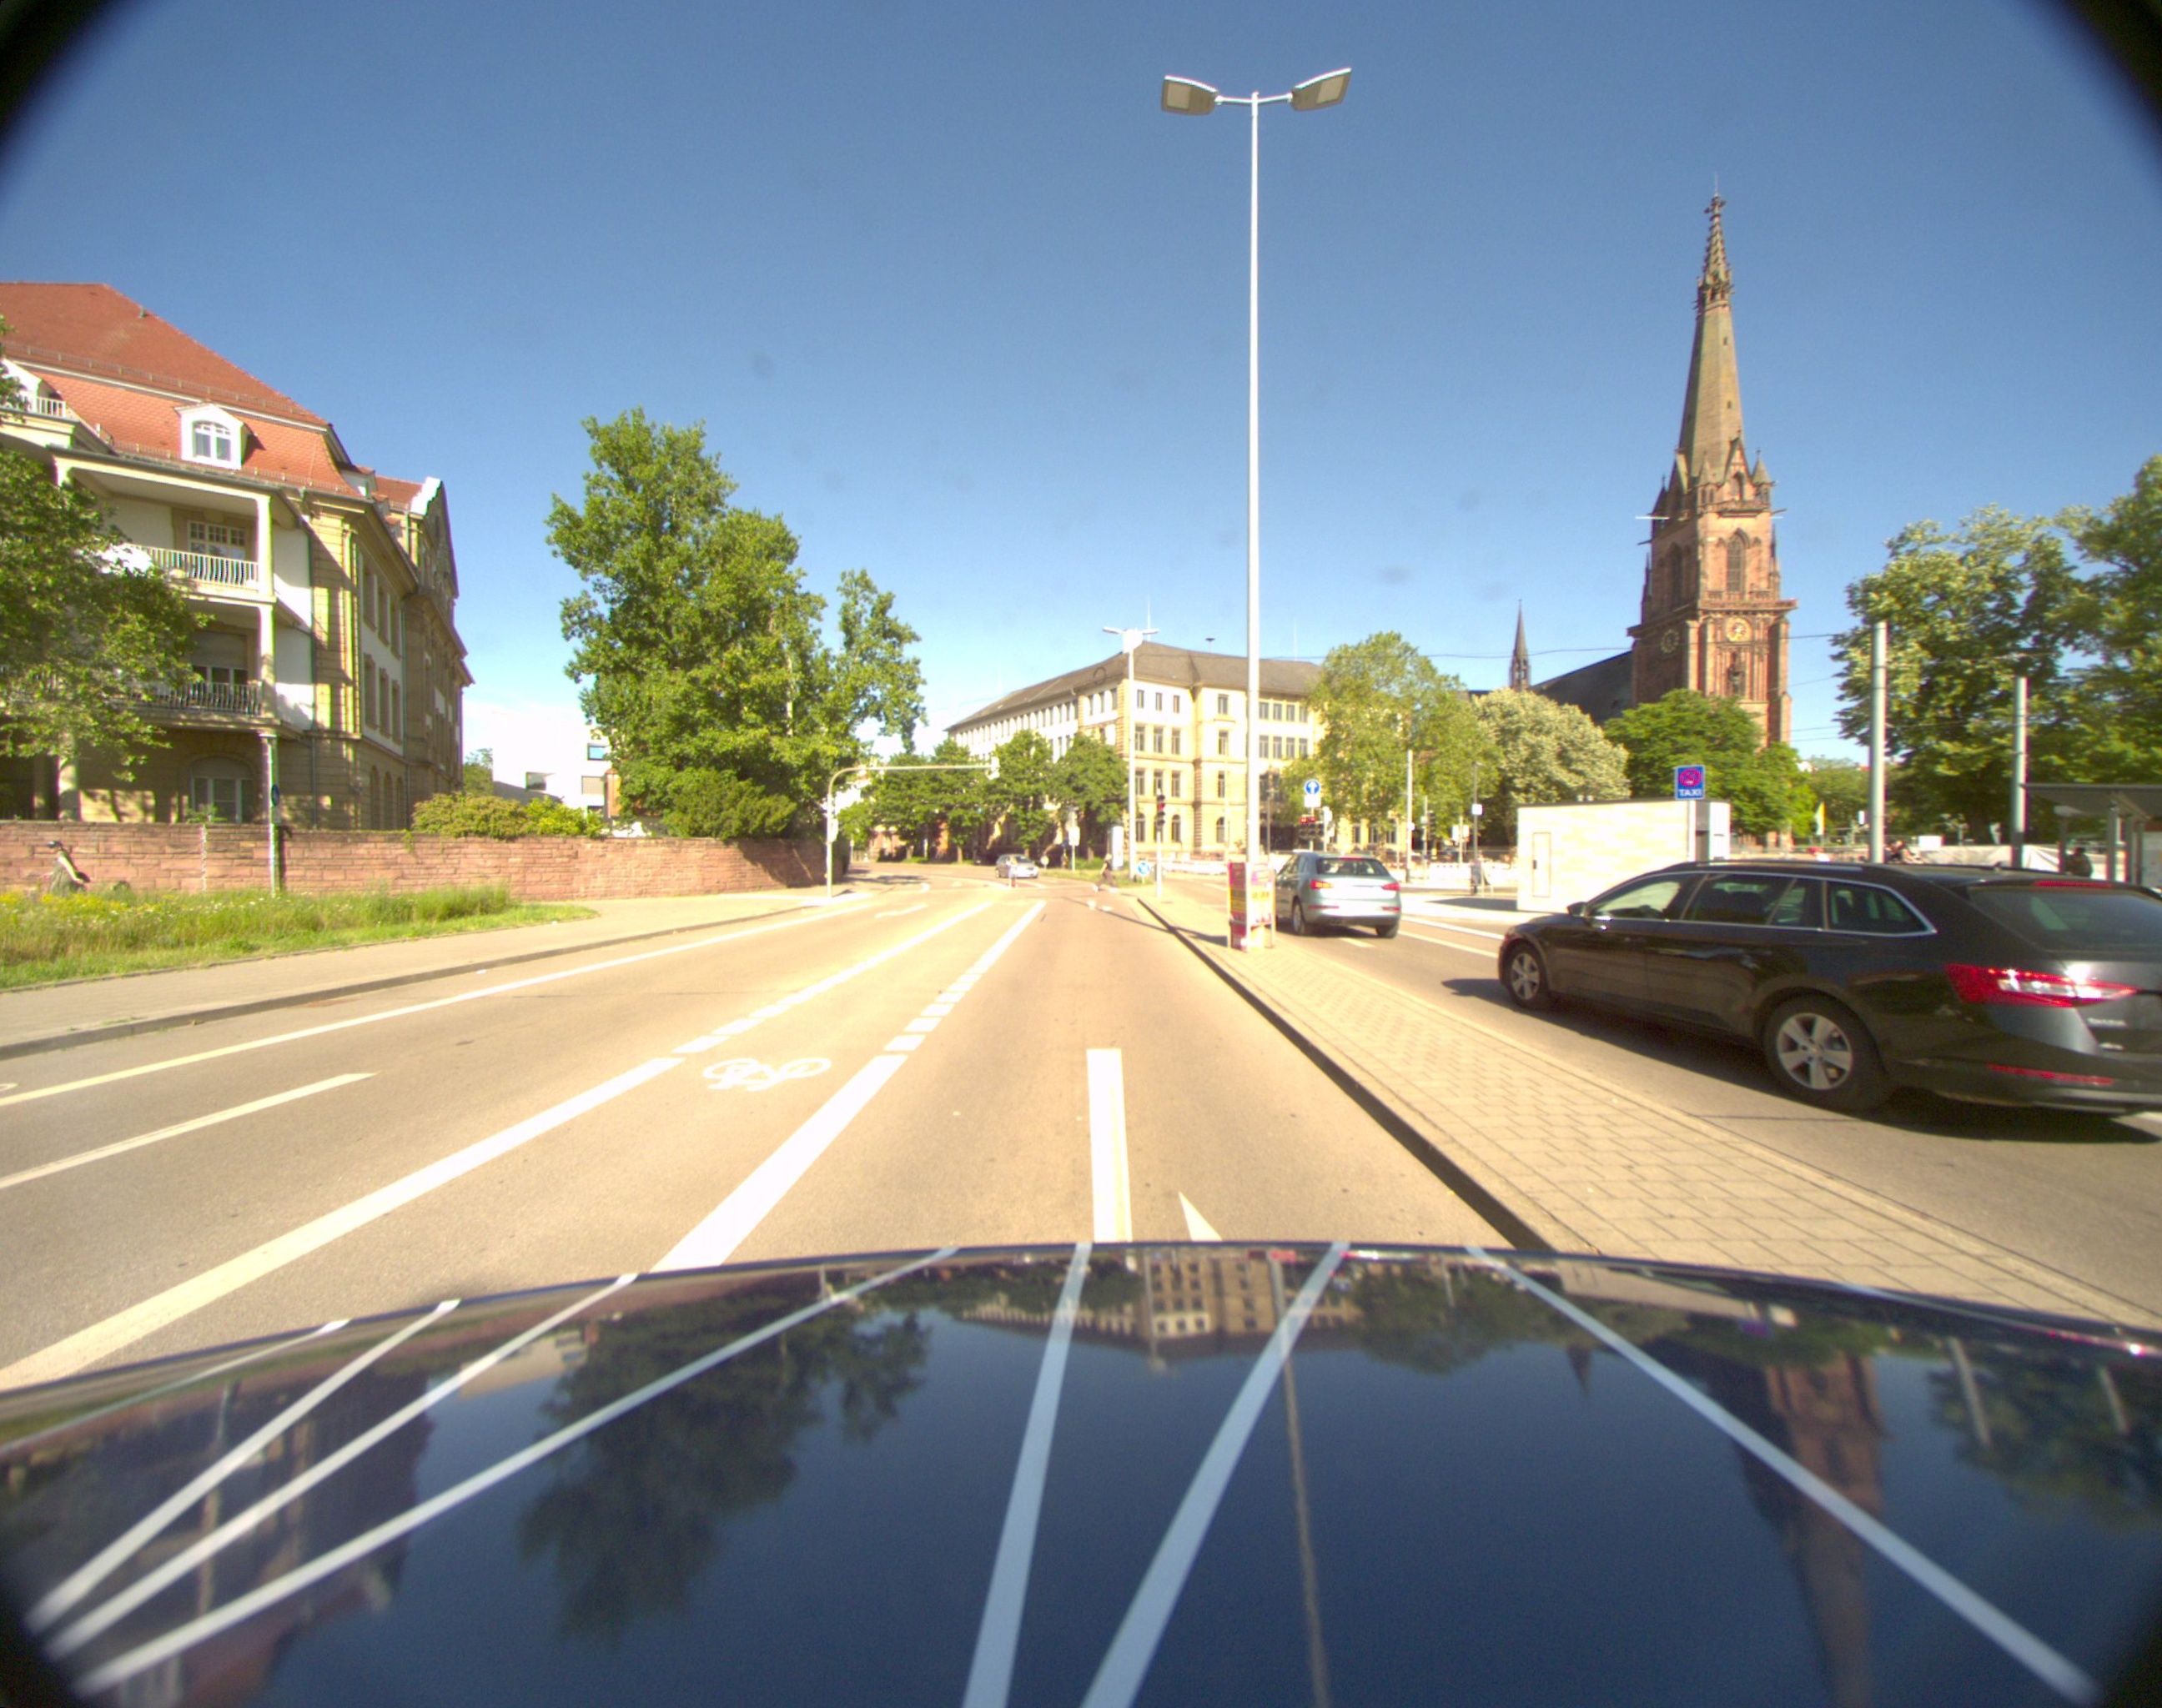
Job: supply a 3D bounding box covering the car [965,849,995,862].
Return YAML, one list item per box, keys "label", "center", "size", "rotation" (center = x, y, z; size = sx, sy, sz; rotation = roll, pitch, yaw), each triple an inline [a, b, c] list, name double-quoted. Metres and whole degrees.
- label: "car"
  center: [-12.031, 0.145, 90.496]
  size: [1.839, 1.587, 3.989]
  rotation: [-1, 1, -37]

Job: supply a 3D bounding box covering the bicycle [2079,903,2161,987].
- label: "bicycle"
  center: [13.983, 1.190, 9.555]
  size: [0.407, 0.993, 1.678]
  rotation: [-3, 3, -33]

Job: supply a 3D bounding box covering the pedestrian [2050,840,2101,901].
- label: "pedestrian"
  center: [30.654, 0.511, 23.434]
  size: [0.619, 1.849, 0.703]
  rotation: [0, 1, 11]

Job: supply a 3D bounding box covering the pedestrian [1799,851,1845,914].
- label: "pedestrian"
  center: [19.487, 0.728, 19.979]
  size: [0.621, 1.613, 0.700]
  rotation: [-1, 1, -29]

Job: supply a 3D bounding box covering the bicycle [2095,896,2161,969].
- label: "bicycle"
  center: [16.126, 1.184, 11.003]
  size: [0.407, 0.993, 1.678]
  rotation: [-3, 3, -33]

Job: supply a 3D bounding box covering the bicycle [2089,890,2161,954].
- label: "bicycle"
  center: [17.962, 1.139, 12.464]
  size: [0.407, 0.993, 1.679]
  rotation: [-3, 2, -33]

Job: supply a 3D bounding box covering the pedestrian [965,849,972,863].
- label: "pedestrian"
  center: [-14.871, 0.250, 100.620]
  size: [0.578, 1.893, 0.781]
  rotation: [-1, 1, -36]

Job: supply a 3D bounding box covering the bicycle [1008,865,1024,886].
- label: "bicycle"
  center: [-3.432, 1.123, 39.758]
  size: [0.741, 0.989, 2.305]
  rotation: [-2, 1, -6]

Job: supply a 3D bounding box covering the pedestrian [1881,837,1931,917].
- label: "pedestrian"
  center: [19.621, 0.525, 18.078]
  size: [0.703, 1.849, 0.619]
  rotation: [-1, 1, -26]

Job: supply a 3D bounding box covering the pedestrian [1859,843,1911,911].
- label: "pedestrian"
  center: [20.814, 0.585, 19.666]
  size: [0.622, 1.717, 0.831]
  rotation: [-1, 1, -36]

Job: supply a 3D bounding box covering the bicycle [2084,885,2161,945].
- label: "bicycle"
  center: [19.026, 1.086, 13.342]
  size: [0.407, 0.993, 1.679]
  rotation: [-3, 2, -33]

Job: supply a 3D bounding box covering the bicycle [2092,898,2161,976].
- label: "bicycle"
  center: [15.028, 1.168, 10.212]
  size: [0.407, 0.993, 1.678]
  rotation: [-3, 3, -33]

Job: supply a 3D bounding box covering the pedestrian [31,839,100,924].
- label: "pedestrian"
  center: [-22.891, 0.601, 17.143]
  size: [0.789, 1.847, 0.629]
  rotation: [-1, 1, -41]

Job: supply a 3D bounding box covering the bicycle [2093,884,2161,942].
- label: "bicycle"
  center: [19.511, 1.066, 13.584]
  size: [0.407, 0.993, 1.679]
  rotation: [-3, 2, -33]

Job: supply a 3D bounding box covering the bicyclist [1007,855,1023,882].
- label: "bicyclist"
  center: [-3.451, 0.732, 39.738]
  size: [0.741, 1.363, 0.626]
  rotation: [-2, 1, -6]

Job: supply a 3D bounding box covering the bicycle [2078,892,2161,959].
- label: "bicycle"
  center: [17.182, 1.143, 12.016]
  size: [0.407, 0.993, 1.679]
  rotation: [-3, 2, -33]

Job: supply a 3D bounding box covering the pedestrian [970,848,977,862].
- label: "pedestrian"
  center: [-14.349, 0.153, 101.010]
  size: [0.578, 1.893, 0.849]
  rotation: [-1, 1, -36]

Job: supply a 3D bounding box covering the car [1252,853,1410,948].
- label: "car"
  center: [4.775, 0.796, 15.176]
  size: [1.792, 1.572, 4.257]
  rotation: [1, 0, 1]

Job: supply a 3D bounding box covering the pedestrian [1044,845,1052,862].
- label: "pedestrian"
  center: [-3.738, -0.067, 86.374]
  size: [0.557, 2.002, 0.645]
  rotation: [-1, 1, -37]

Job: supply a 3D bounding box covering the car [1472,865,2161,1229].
- label: "car"
  center: [5.133, 0.897, 5.708]
  size: [1.818, 1.496, 4.783]
  rotation: [2, 0, -1]

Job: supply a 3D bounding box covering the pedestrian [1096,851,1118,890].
- label: "pedestrian"
  center: [1.114, 0.697, 32.720]
  size: [0.932, 1.657, 0.630]
  rotation: [0, 1, -1]

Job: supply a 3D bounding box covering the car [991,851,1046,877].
- label: "car"
  center: [-4.277, 0.675, 51.410]
  size: [2.002, 1.580, 4.841]
  rotation: [-3, 1, -27]
